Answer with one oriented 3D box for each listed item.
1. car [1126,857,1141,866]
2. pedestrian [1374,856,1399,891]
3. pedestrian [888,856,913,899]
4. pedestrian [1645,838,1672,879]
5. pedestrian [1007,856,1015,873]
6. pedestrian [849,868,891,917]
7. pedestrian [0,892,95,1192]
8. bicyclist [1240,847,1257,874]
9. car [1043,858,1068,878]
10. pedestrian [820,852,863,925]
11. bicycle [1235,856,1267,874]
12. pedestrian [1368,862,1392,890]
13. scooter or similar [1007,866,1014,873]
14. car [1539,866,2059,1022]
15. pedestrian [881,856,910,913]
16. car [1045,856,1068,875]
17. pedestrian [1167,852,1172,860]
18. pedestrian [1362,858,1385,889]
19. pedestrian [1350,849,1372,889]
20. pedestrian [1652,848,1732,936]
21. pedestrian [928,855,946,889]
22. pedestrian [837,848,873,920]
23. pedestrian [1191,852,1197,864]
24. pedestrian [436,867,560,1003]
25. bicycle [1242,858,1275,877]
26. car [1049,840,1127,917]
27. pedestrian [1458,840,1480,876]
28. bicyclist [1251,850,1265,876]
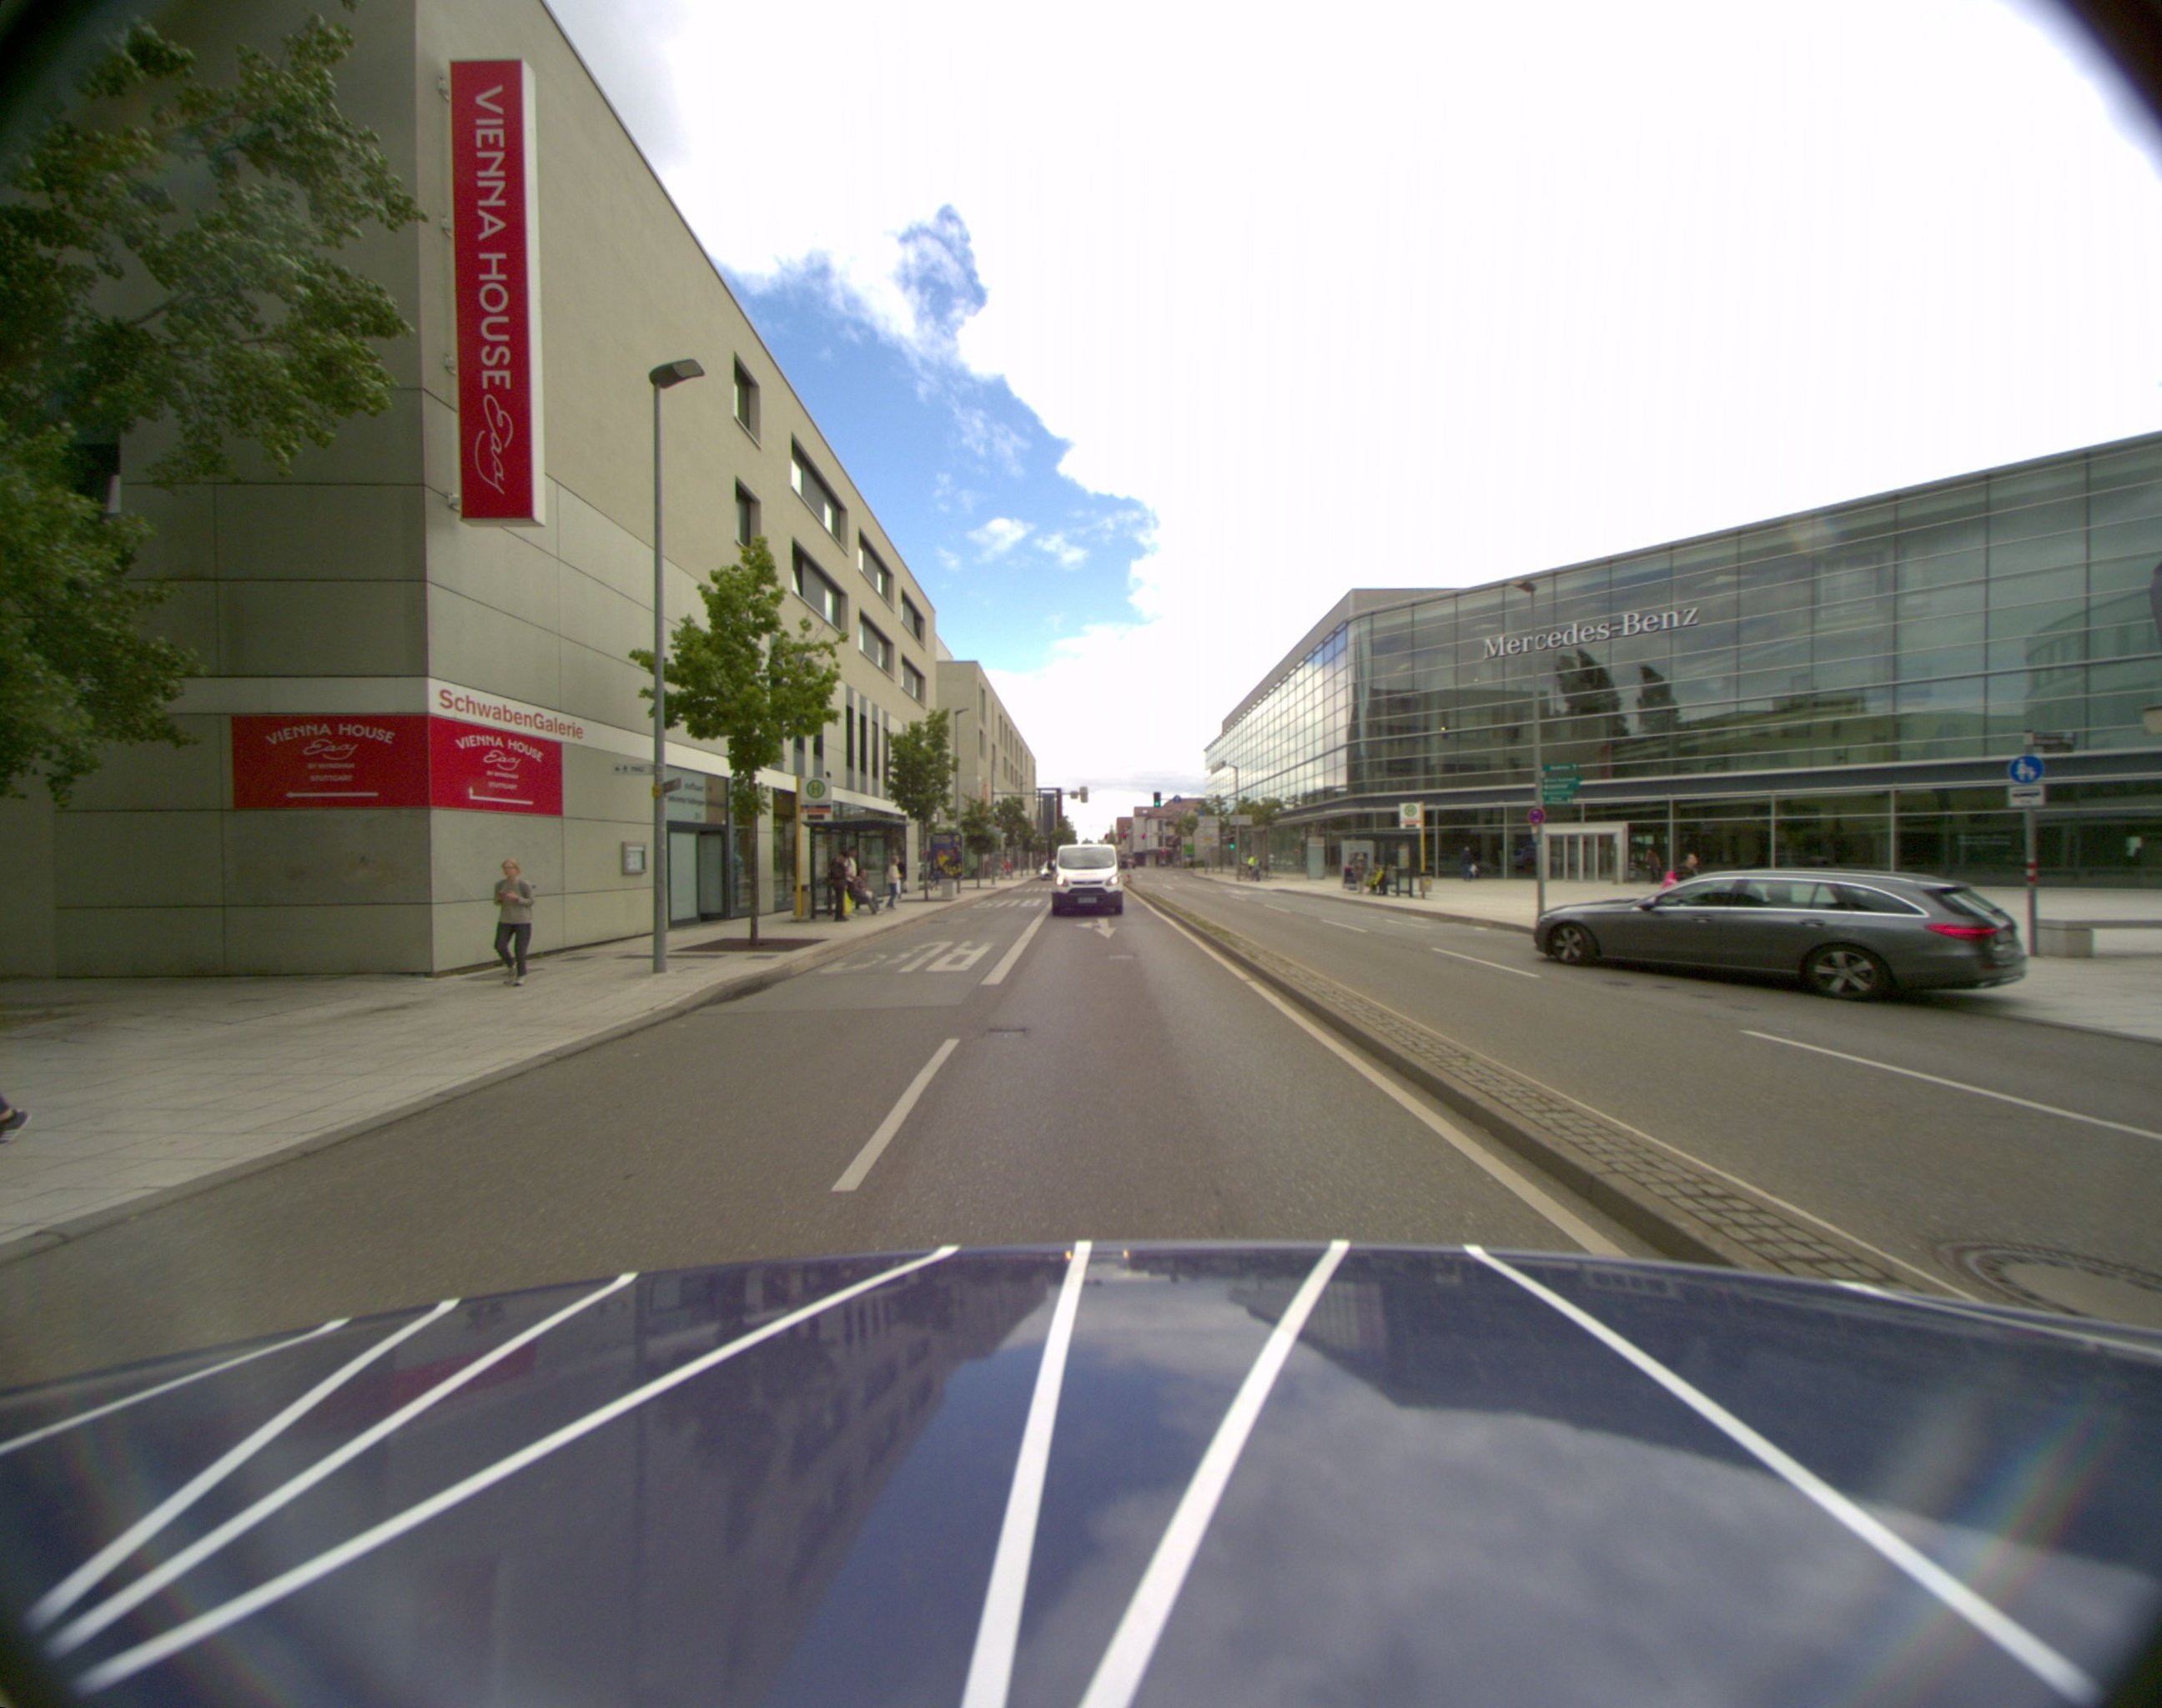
[{"bbox_3d":[8.555,1.181,123.420,1.803,1.458,3.998,0,0,-5],"label":"car"},{"bbox_3d":[11.758,0.742,29.276,0.686,1.312,0.576,1,1,-1],"label":"pedestrian"},{"bbox_3d":[-6.878,0.884,28.932,0.742,1.599,0.714,-1,1,1],"label":"pedestrian"},{"bbox_3d":[27.845,0.210,36.623,0.687,1.934,0.749,-2,1,-12],"label":"pedestrian"},{"bbox_3d":[-6.411,0.952,69.359,0.590,1.558,0.732,1,1,1],"label":"pedestrian"},{"bbox_3d":[-5.582,1.004,20.135,0.945,1.252,0.732,0,1,-2],"label":"pedestrian"},{"bbox_3d":[-6.211,1.012,3.891,0.949,1.574,1.015,0,1,0],"label":"pedestrian"},{"bbox_3d":[11.540,0.460,52.470,0.772,1.789,0.749,-2,1,45],"label":"bicyclist"},{"bbox_3d":[-1.965,1.078,60.088,1.787,1.417,4.514,-2,0,0],"label":"car"},{"bbox_3d":[-5.590,0.791,17.776,0.722,1.674,0.733,1,1,6],"label":"pedestrian"},{"bbox_3d":[11.683,0.771,52.356,2.025,1.199,0.749,-3,1,45],"label":"bicycle"},{"bbox_3d":[11.768,0.873,29.949,0.686,1.069,0.576,1,1,-1],"label":"pedestrian"},{"bbox_3d":[-6.490,1.393,70.127,0.552,0.630,0.767,1,0,1],"label":"scooter or similar"},{"bbox_3d":[8.674,0.909,9.686,1.905,1.407,4.460,-3,1,-32],"label":"car"},{"bbox_3d":[-5.292,0.854,21.681,0.580,1.581,0.733,1,1,6],"label":"pedestrian"},{"bbox_3d":[-2.109,0.986,66.540,1.741,1.533,4.790,-2,0,1],"label":"car"},{"bbox_3d":[15.806,0.367,135.496,0.555,1.507,0.582,0,1,-32],"label":"pedestrian"},{"bbox_3d":[11.764,0.773,30.572,0.686,1.246,0.576,0,1,-1],"label":"pedestrian"},{"bbox_3d":[11.490,0.612,31.183,0.688,1.622,0.574,0,1,-40],"label":"pedestrian"},{"bbox_3d":[11.399,0.691,14.205,0.832,1.558,0.813,-2,1,6],"label":"pedestrian"},{"bbox_3d":[-7.280,0.907,38.407,0.746,1.659,0.614,-1,1,1],"label":"pedestrian"},{"bbox_3d":[-5.662,0.734,19.073,0.580,1.759,0.856,1,1,6],"label":"pedestrian"},{"bbox_3d":[15.576,0.531,104.395,0.702,1.614,0.693,0,1,1],"label":"pedestrian"},{"bbox_3d":[-7.125,0.959,9.330,0.871,1.574,0.804,0,1,0],"label":"pedestrian"},{"bbox_3d":[11.567,0.862,49.390,2.002,1.124,0.639,-3,1,16],"label":"bicycle"},{"bbox_3d":[0.213,0.634,22.688,2.000,1.976,5.000,-2,1,1],"label":"car"},{"bbox_3d":[21.515,0.208,42.159,0.904,1.934,0.748,-2,1,-38],"label":"pedestrian"},{"bbox_3d":[11.508,0.592,49.398,0.783,1.639,0.639,-3,1,16],"label":"bicyclist"}]
